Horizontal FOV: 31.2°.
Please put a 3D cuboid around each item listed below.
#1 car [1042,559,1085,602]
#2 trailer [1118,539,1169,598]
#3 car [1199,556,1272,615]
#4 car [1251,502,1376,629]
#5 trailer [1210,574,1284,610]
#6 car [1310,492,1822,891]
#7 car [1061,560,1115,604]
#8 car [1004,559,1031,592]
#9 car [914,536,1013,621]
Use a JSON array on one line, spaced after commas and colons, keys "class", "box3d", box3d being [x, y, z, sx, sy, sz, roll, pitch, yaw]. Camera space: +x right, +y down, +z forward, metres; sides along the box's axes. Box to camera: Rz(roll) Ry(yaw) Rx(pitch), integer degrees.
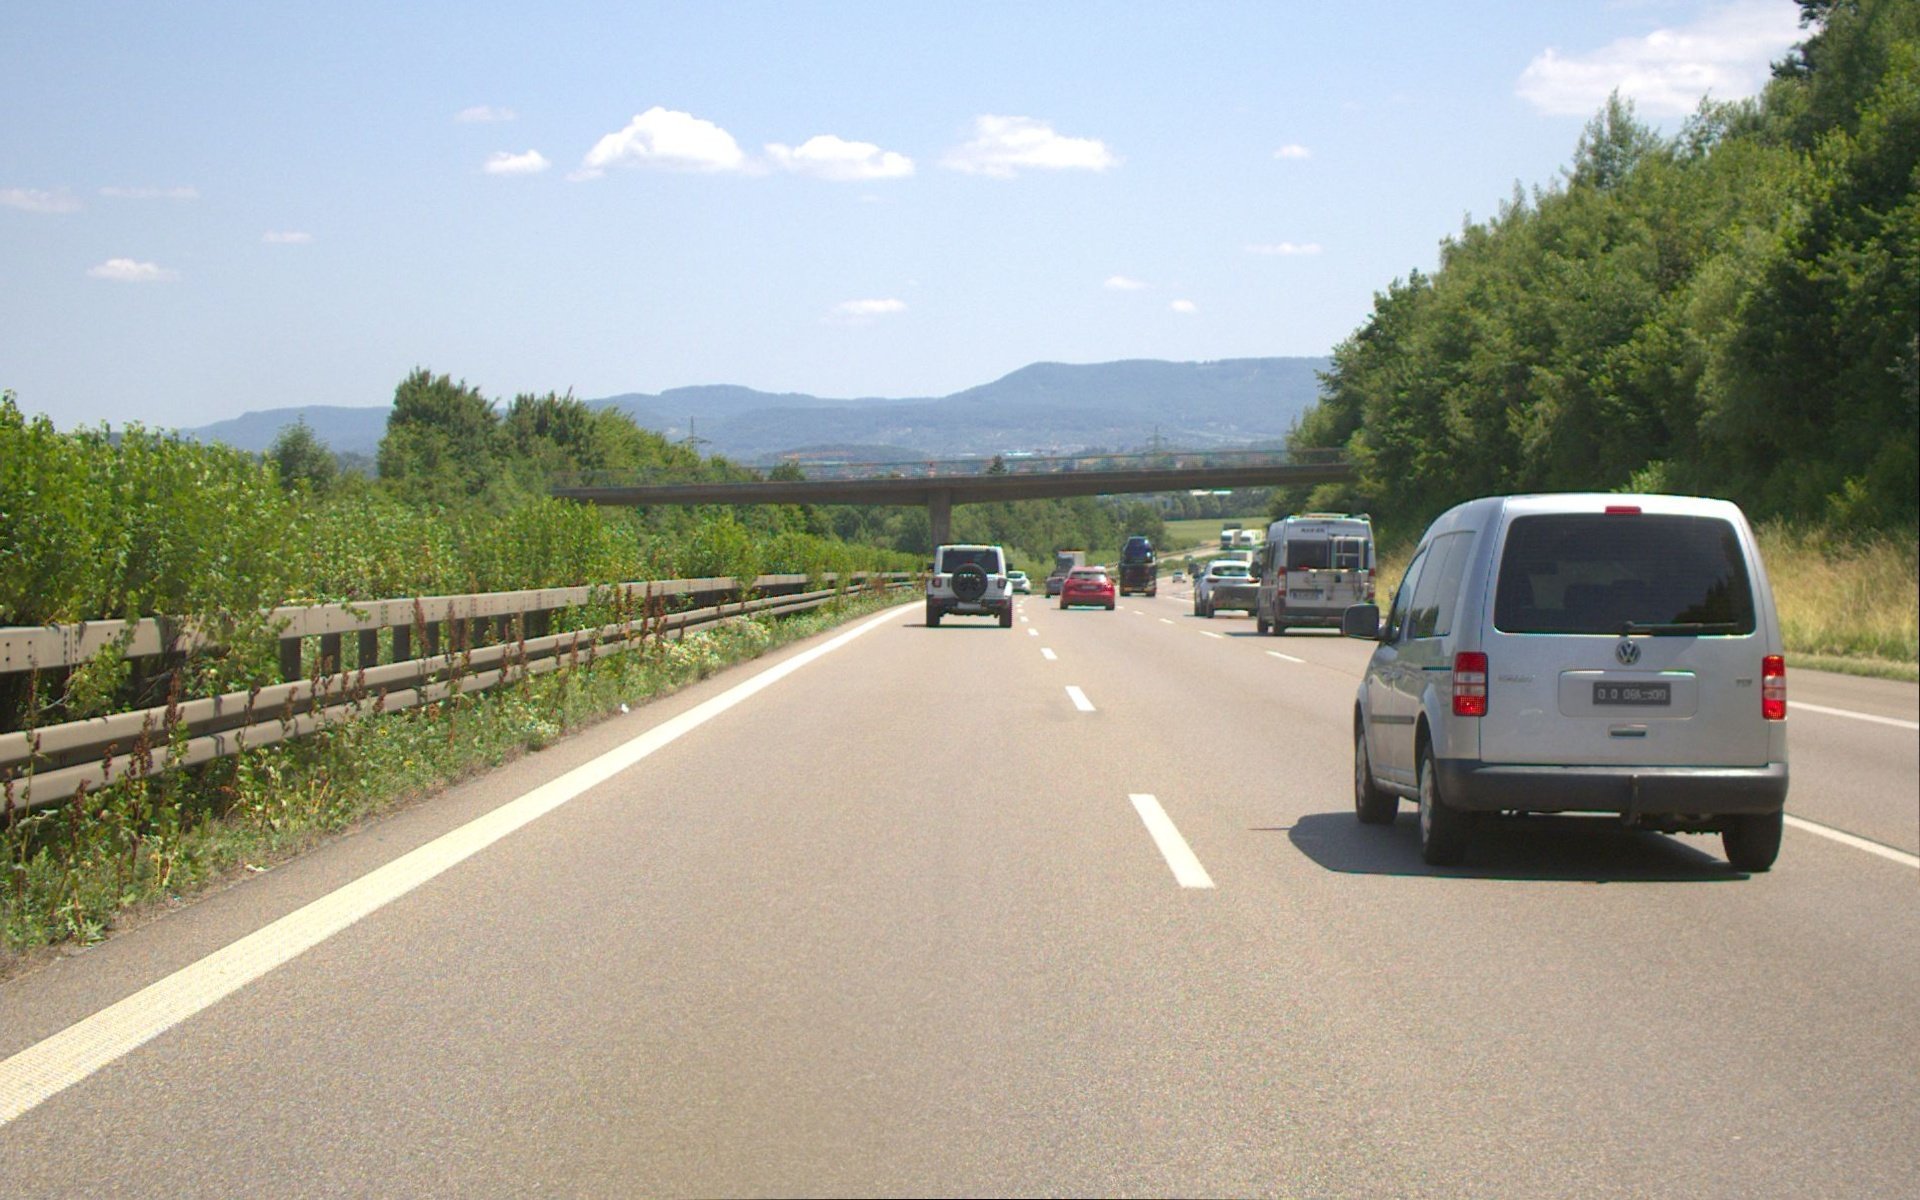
[{"class": "car", "box3d": [5.132, -0.995, 170.358, 1.993, 2.007, 4.000, 1, 1, 0]}, {"class": "trailer", "box3d": [13.017, -2.296, 243.318, 2.856, 3.979, 15.394, 1, 1, 6]}, {"class": "car", "box3d": [8.172, -0.452, 102.381, 1.781, 1.645, 4.403, 1, 1, 0]}, {"class": "car", "box3d": [7.526, -0.792, 73.827, 2.089, 2.567, 6.622, 1, 1, 1]}, {"class": "trailer", "box3d": [8.170, -0.244, 98.014, 1.754, 0.905, 4.320, 1, 1, 0]}, {"class": "car", "box3d": [3.055, 0.366, 18.346, 1.745, 1.823, 4.801, 1, 1, -1]}, {"class": "car", "box3d": [4.277, -0.625, 115.569, 1.686, 1.374, 3.949, 1, 1, 1]}, {"class": "car", "box3d": [3.667, -1.554, 219.854, 1.698, 2.007, 3.822, 1, 1, 1]}, {"class": "car", "box3d": [0.114, -0.518, 78.463, 2.083, 1.823, 4.753, 1, 1, 2]}]
